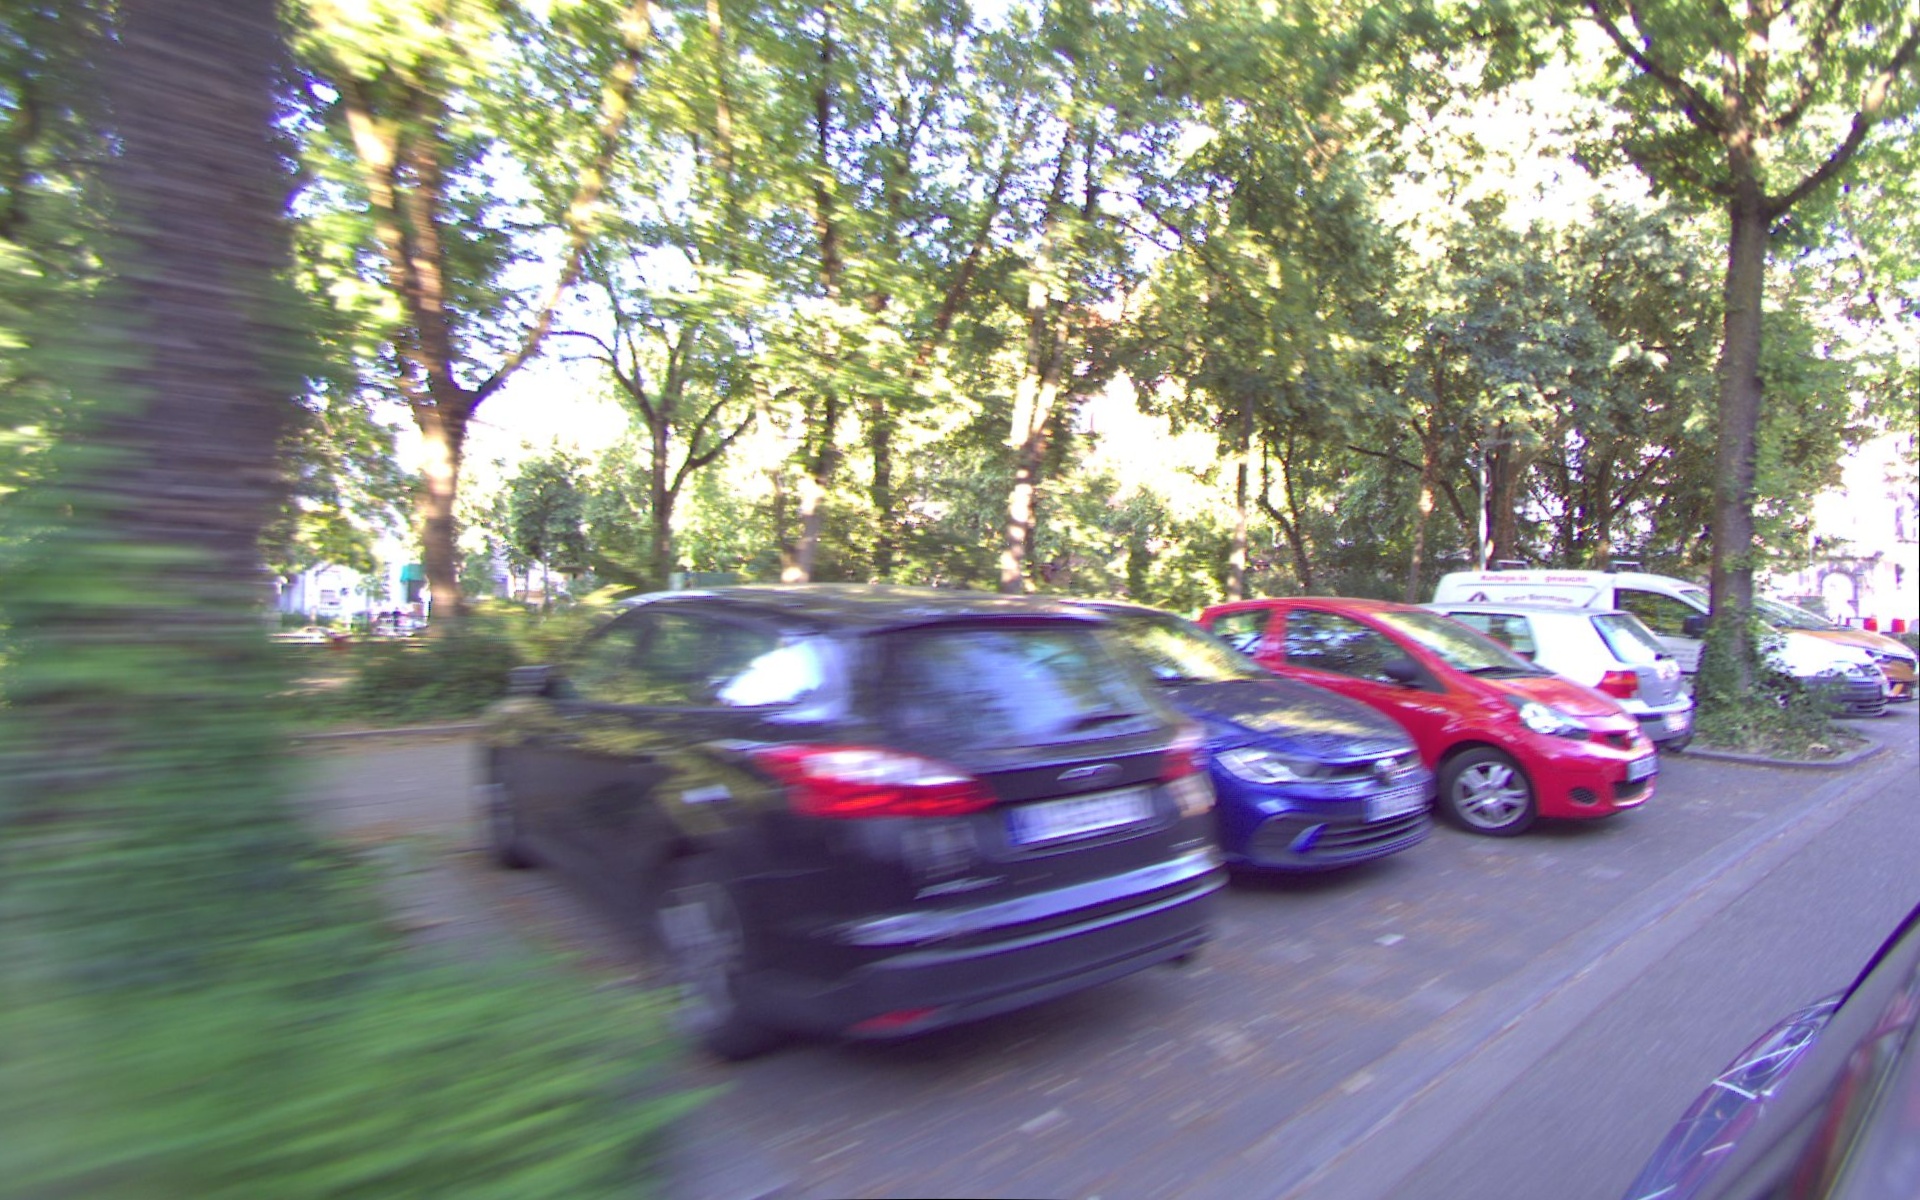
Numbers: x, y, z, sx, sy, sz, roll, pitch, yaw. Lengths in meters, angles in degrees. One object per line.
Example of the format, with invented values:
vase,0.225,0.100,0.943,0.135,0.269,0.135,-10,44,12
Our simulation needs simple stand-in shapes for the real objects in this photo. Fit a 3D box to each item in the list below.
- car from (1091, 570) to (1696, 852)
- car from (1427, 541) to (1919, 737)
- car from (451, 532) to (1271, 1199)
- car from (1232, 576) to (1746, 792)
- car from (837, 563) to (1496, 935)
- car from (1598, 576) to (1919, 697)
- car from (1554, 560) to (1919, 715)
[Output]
car,3.010,0.659,7.779,1.559,1.594,3.995,0,-1,-39
car,8.526,0.294,12.480,1.839,1.948,4.683,0,2,-39
car,-0.867,0.676,4.372,1.559,1.594,4.028,0,-1,-39
car,4.725,0.655,9.600,1.634,1.594,3.999,0,-1,-35
car,0.957,0.673,6.400,1.559,1.594,3.995,0,-1,-39
car,12.485,0.528,15.744,1.767,1.648,3.992,0,-1,-41
car,10.673,0.463,13.858,1.764,1.780,4.000,0,-1,-34
